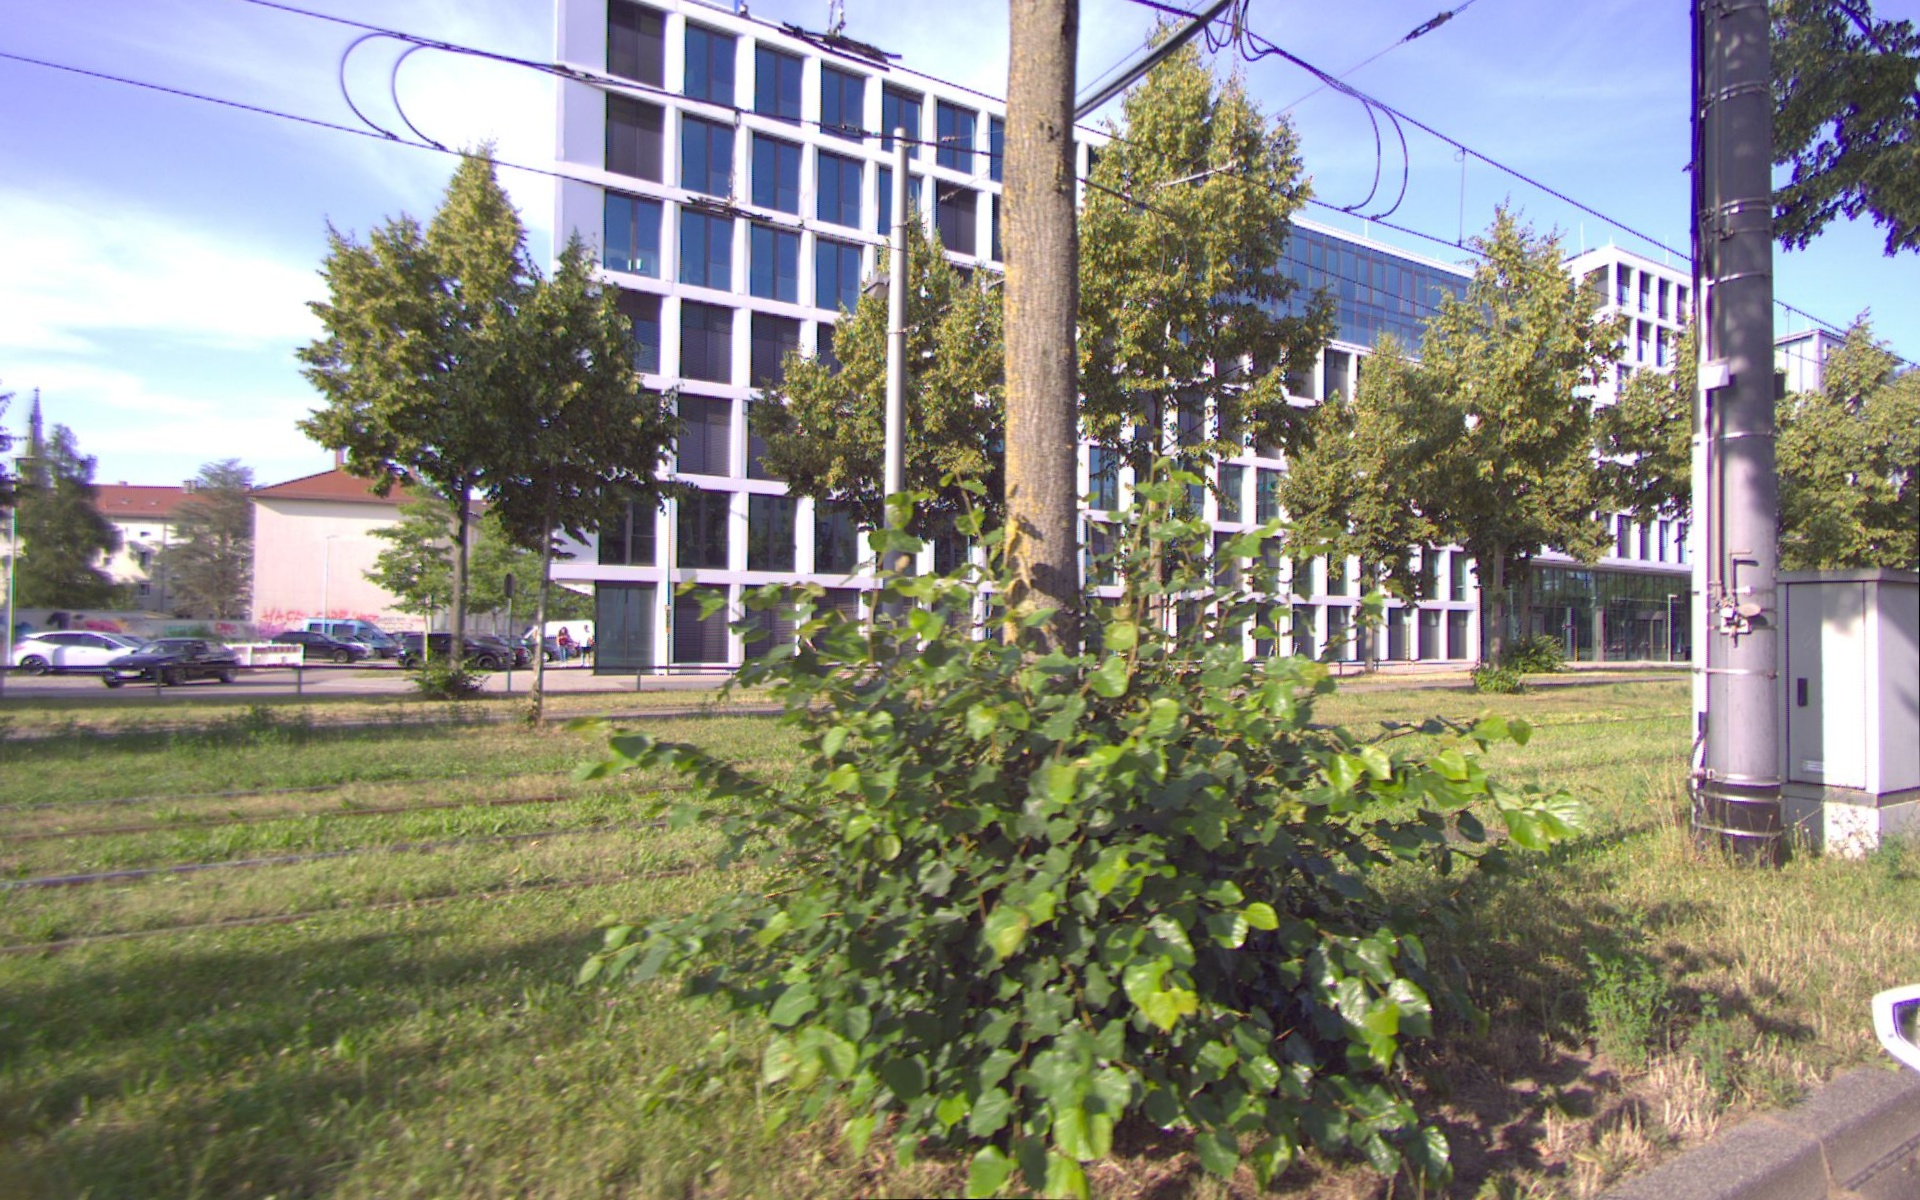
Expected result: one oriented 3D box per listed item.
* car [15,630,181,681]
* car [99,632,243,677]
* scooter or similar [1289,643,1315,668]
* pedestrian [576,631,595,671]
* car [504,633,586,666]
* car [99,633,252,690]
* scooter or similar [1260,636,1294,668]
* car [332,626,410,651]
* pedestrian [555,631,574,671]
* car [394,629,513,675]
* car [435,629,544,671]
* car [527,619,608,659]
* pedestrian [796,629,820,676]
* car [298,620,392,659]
[{"bbox_3d":[-30.059,1.930,35.160,3.938,1.617,1.846,2,0,-19],"label":"car"},{"bbox_3d":[-30.100,2.082,38.446,3.936,1.578,1.683,2,0,-18],"label":"car"},{"bbox_3d":[17.603,2.846,51.657,1.277,1.242,0.335,2,0,-17],"label":"scooter or similar"},{"bbox_3d":[-16.355,2.225,43.899,0.622,1.652,0.591,2,4,-5],"label":"pedestrian"},{"bbox_3d":[-24.017,2.854,58.279,4.087,1.711,1.807,2,0,-13],"label":"car"},{"bbox_3d":[-23.337,1.788,30.077,1.743,1.446,3.995,2,-1,-7],"label":"car"},{"bbox_3d":[15.884,2.607,50.315,0.409,1.496,1.923,2,0,-25],"label":"scooter or similar"},{"bbox_3d":[-41.570,2.718,70.994,4.423,1.649,1.696,2,0,-18],"label":"car"},{"bbox_3d":[-17.303,2.218,43.933,0.622,1.652,0.591,2,4,-5],"label":"pedestrian"},{"bbox_3d":[-20.464,2.101,40.749,3.933,1.694,1.855,2,0,-14],"label":"car"},{"bbox_3d":[-20.450,2.175,43.811,3.933,1.694,1.855,2,0,-14],"label":"car"},{"bbox_3d":[-27.272,2.715,69.885,4.944,2.566,1.807,2,0,-13],"label":"car"},{"bbox_3d":[-5.703,1.973,37.734,0.683,1.751,0.565,2,0,-30],"label":"pedestrian"},{"bbox_3d":[-36.972,2.401,60.511,4.423,2.187,1.848,2,0,-18],"label":"car"}]
